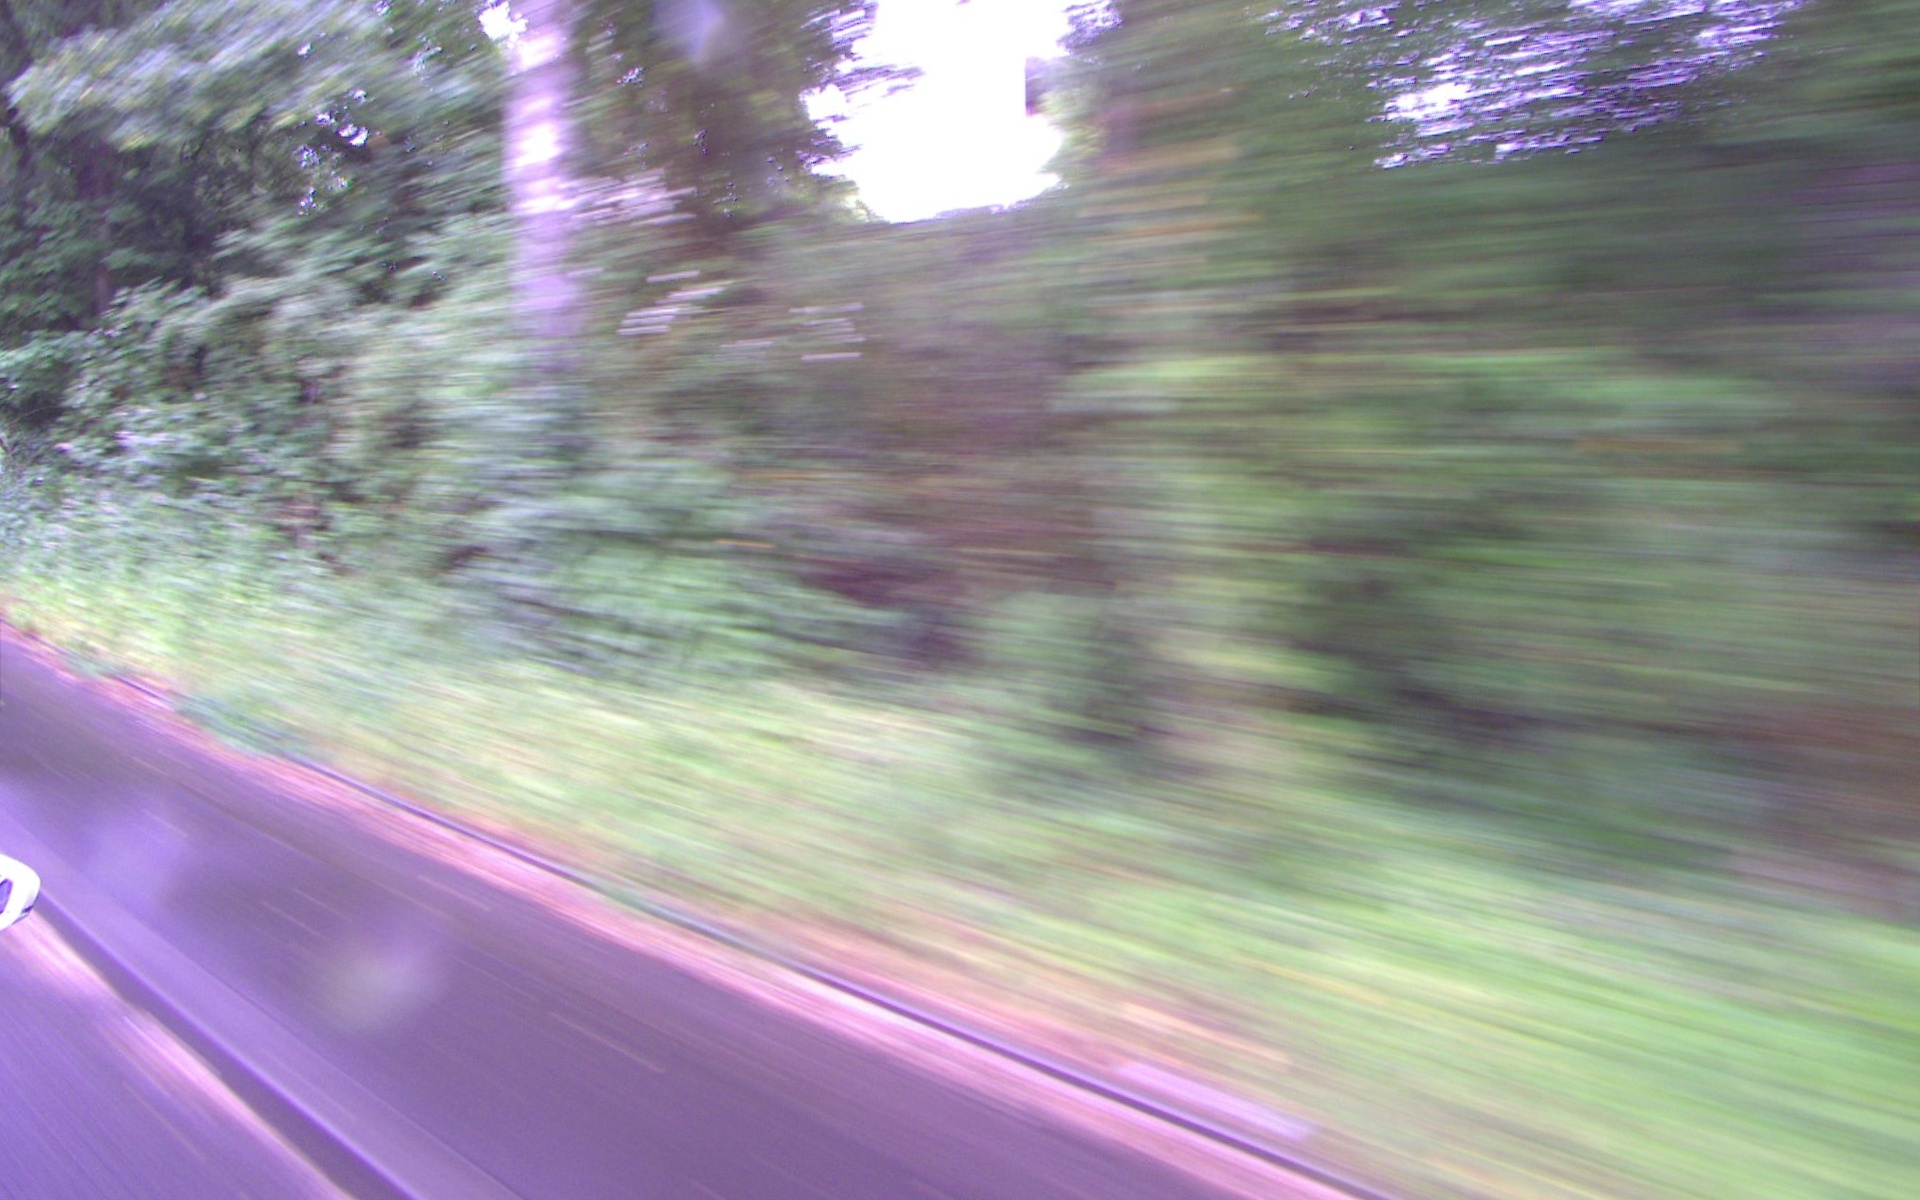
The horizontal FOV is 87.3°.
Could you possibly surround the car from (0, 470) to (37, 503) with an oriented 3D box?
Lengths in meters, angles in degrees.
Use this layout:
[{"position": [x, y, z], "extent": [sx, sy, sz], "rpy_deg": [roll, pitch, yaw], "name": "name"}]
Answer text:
[{"position": [-52.603, -6.325, 55.767], "extent": [1.658, 1.614, 3.645], "rpy_deg": [5, 1, -37], "name": "car"}]
